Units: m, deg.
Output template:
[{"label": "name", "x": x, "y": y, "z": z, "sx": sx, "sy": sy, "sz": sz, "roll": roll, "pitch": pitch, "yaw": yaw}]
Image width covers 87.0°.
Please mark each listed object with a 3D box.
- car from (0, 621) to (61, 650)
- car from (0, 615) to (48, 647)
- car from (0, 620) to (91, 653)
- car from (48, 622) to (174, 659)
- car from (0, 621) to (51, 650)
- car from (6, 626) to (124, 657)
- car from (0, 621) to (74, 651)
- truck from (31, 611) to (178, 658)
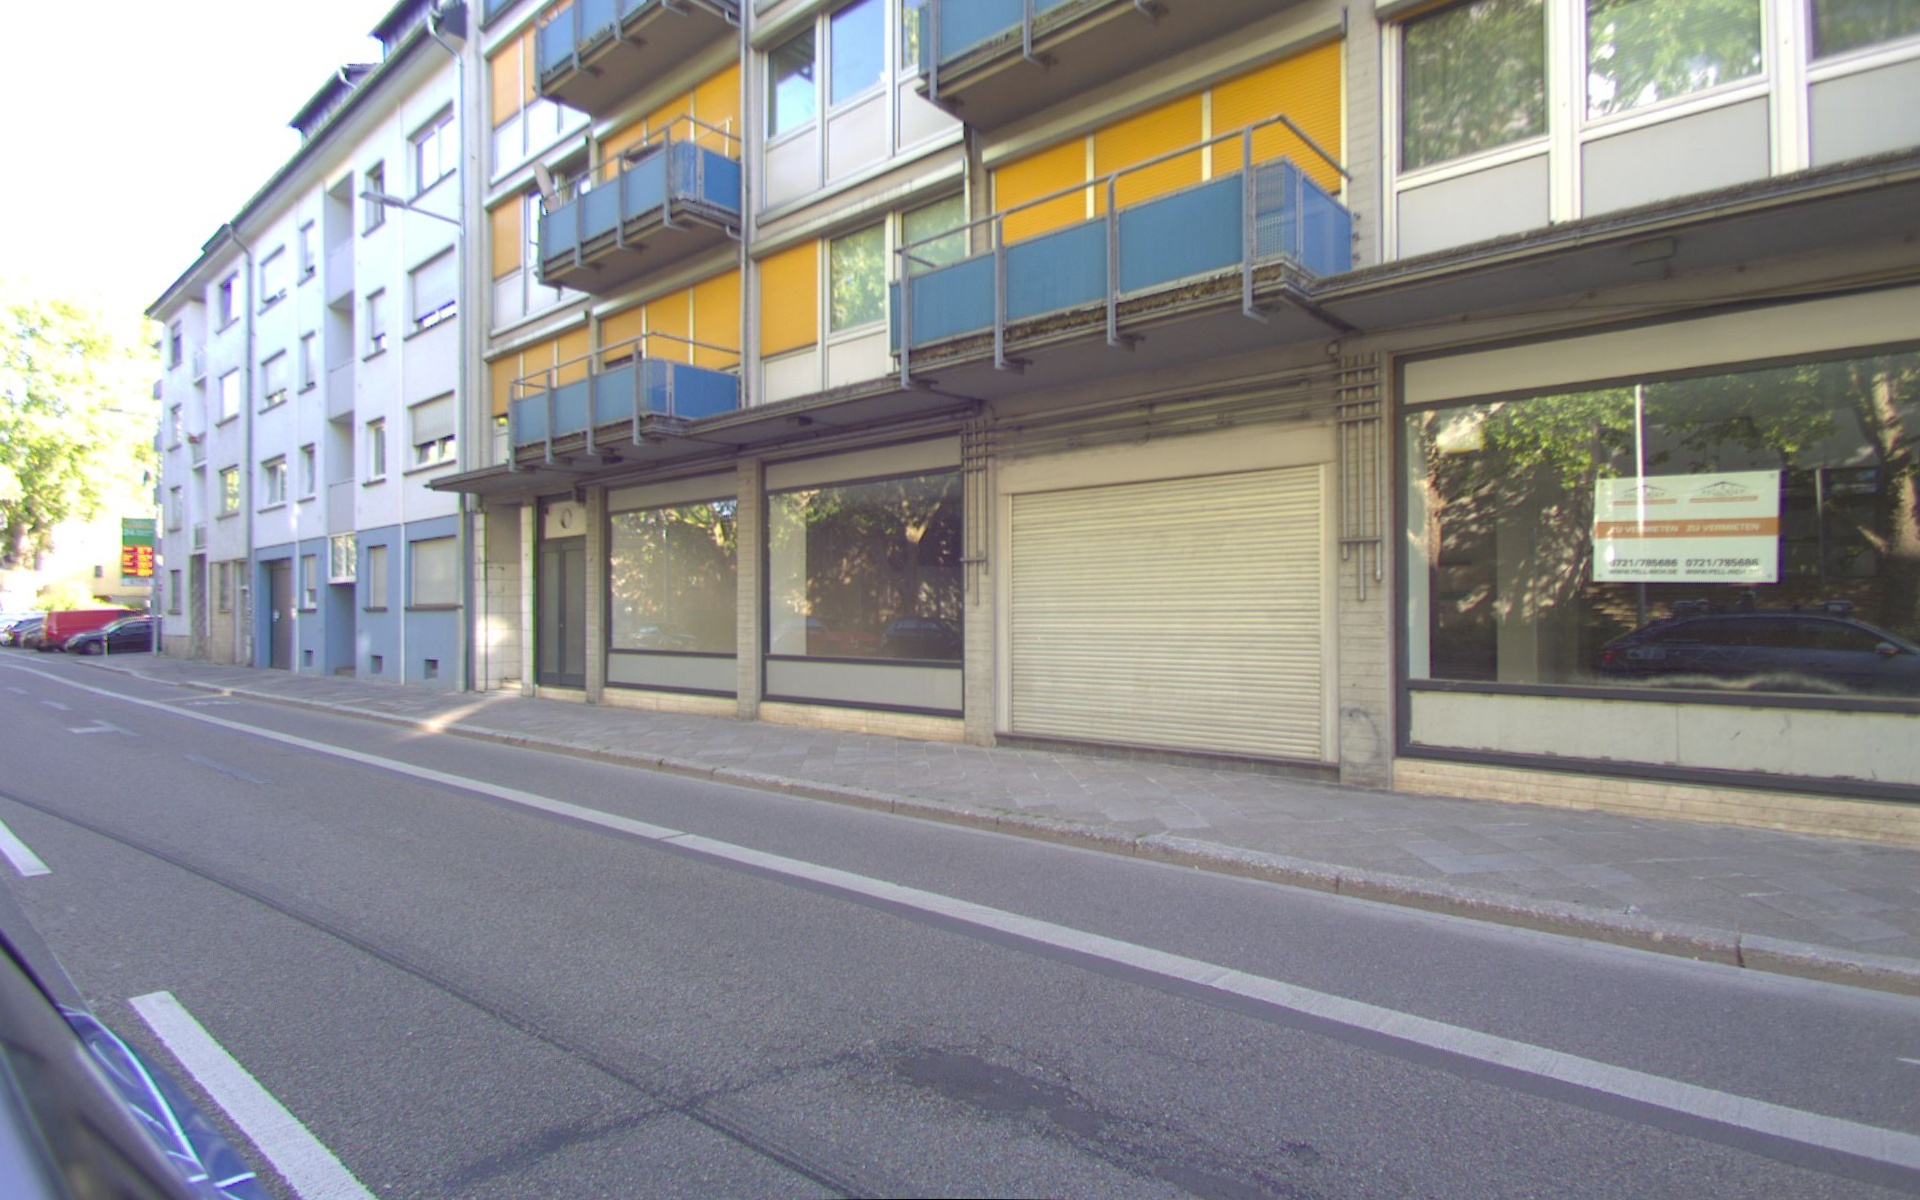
[{"label": "car", "x": -55.058, "y": 2.080, "z": 58.988, "sx": 1.715, "sy": 1.594, "sz": 3.660, "roll": -1, "pitch": 0, "yaw": 35}, {"label": "car", "x": -59.750, "y": 1.966, "z": 63.822, "sx": 1.693, "sy": 1.953, "sz": 3.224, "roll": -1, "pitch": 0, "yaw": 43}, {"label": "car", "x": -50.813, "y": 1.981, "z": 55.955, "sx": 1.699, "sy": 1.640, "sz": 3.952, "roll": -1, "pitch": 0, "yaw": 35}, {"label": "car", "x": -36.730, "y": 1.724, "z": 43.858, "sx": 1.780, "sy": 1.404, "sz": 3.947, "roll": -1, "pitch": 0, "yaw": 39}, {"label": "car", "x": -56.879, "y": 2.121, "z": 60.380, "sx": 1.740, "sy": 1.600, "sz": 3.685, "roll": -1, "pitch": 0, "yaw": 35}, {"label": "car", "x": -43.081, "y": 1.957, "z": 48.774, "sx": 1.904, "sy": 1.282, "sz": 3.983, "roll": -1, "pitch": 0, "yaw": 39}, {"label": "car", "x": -52.874, "y": 2.035, "z": 57.459, "sx": 1.656, "sy": 1.599, "sz": 3.615, "roll": -1, "pitch": 0, "yaw": 35}, {"label": "truck", "x": -40.341, "y": 1.581, "z": 47.823, "sx": 1.998, "sy": 2.036, "sz": 5.024, "roll": -1, "pitch": 0, "yaw": 40}]
